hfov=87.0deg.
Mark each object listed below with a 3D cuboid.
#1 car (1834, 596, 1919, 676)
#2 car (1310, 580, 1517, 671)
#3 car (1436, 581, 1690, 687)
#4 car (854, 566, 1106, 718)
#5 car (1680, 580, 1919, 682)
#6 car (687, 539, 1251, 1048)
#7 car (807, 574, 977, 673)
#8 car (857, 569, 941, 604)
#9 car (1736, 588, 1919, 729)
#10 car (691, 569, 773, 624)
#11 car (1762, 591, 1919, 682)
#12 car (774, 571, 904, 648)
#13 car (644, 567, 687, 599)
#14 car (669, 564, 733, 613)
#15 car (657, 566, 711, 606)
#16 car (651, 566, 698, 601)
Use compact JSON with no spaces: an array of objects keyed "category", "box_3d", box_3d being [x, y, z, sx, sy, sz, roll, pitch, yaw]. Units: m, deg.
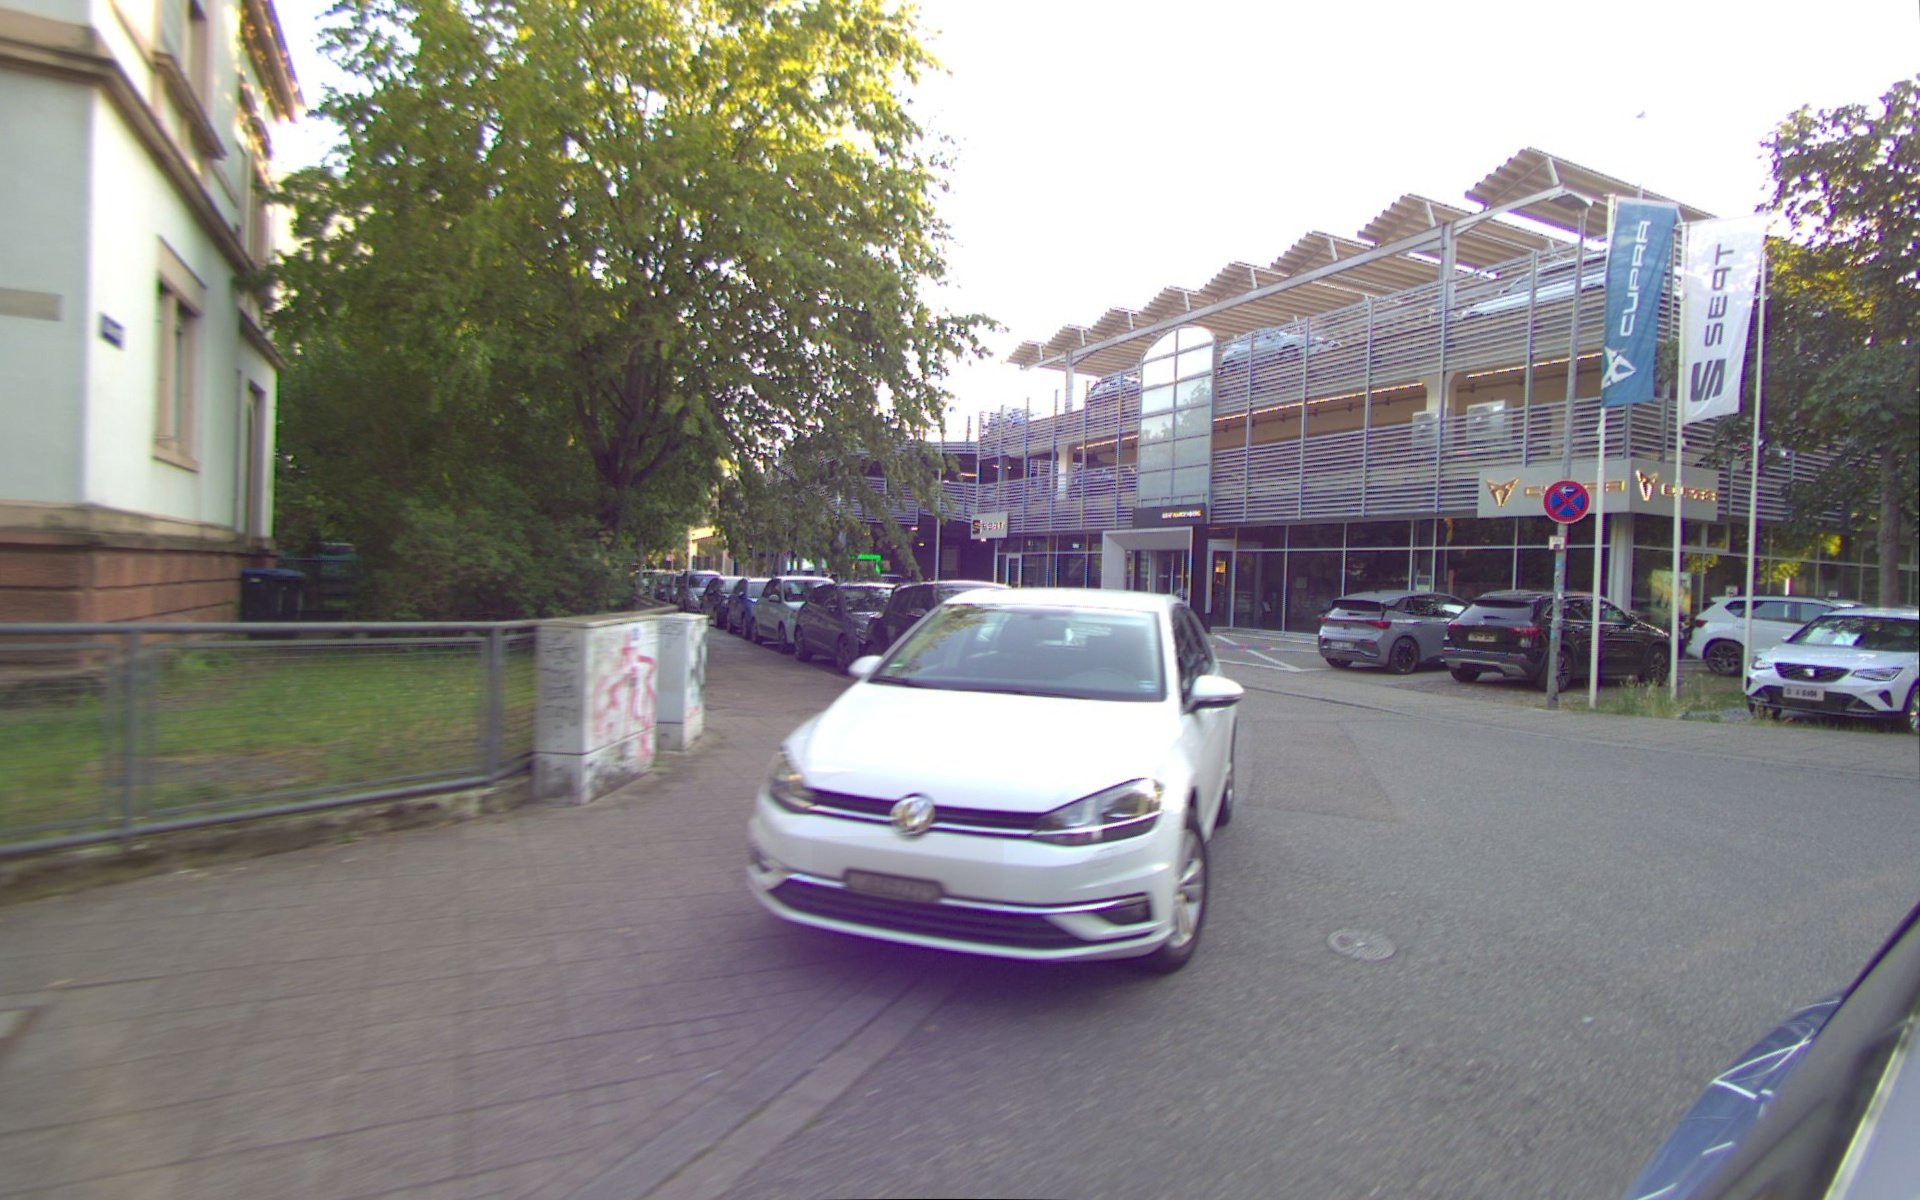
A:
[{"category":"car","box_3d":[20.525,0.789,19.967,1.834,1.592,4.599,2,1,-28]},{"category":"car","box_3d":[8.922,0.435,19.929,3.617,1.611,1.710,-1,2,-23]},{"category":"car","box_3d":[10.267,0.515,17.217,4.041,1.625,1.721,0,1,-25]},{"category":"car","box_3d":[0.066,0.379,12.657,1.599,1.564,3.951,1,2,-24]},{"category":"car","box_3d":[16.126,0.520,18.388,1.834,1.664,4.599,2,1,-28]},{"category":"car","box_3d":[0.517,0.561,5.306,1.789,1.520,4.148,1,0,18]},{"category":"car","box_3d":[-1.299,0.343,17.585,1.599,1.452,3.792,3,1,-26]},{"category":"car","box_3d":[-3.100,-0.699,51.464,3.845,1.587,1.637,3,1,-23]},{"category":"car","box_3d":[12.351,0.722,13.452,3.822,1.591,1.771,2,1,-28]},{"category":"car","box_3d":[-6.950,-0.136,30.573,1.599,1.452,4.138,3,1,-24]},{"category":"car","box_3d":[18.506,0.724,19.361,1.834,1.636,4.599,2,1,-28]},{"category":"car","box_3d":[-2.668,0.160,21.560,1.599,1.452,3.693,3,0,-26]},{"category":"car","box_3d":[-14.725,-0.873,50.538,1.599,1.472,3.774,3,1,-23]},{"category":"car","box_3d":[-9.499,-0.454,36.889,1.599,1.587,4.138,3,1,-23]},{"category":"car","box_3d":[-11.394,-0.595,41.602,1.599,1.472,3.774,3,1,-23]},{"category":"car","box_3d":[-13.114,-0.785,46.309,1.599,1.472,3.774,3,1,-22]}]
